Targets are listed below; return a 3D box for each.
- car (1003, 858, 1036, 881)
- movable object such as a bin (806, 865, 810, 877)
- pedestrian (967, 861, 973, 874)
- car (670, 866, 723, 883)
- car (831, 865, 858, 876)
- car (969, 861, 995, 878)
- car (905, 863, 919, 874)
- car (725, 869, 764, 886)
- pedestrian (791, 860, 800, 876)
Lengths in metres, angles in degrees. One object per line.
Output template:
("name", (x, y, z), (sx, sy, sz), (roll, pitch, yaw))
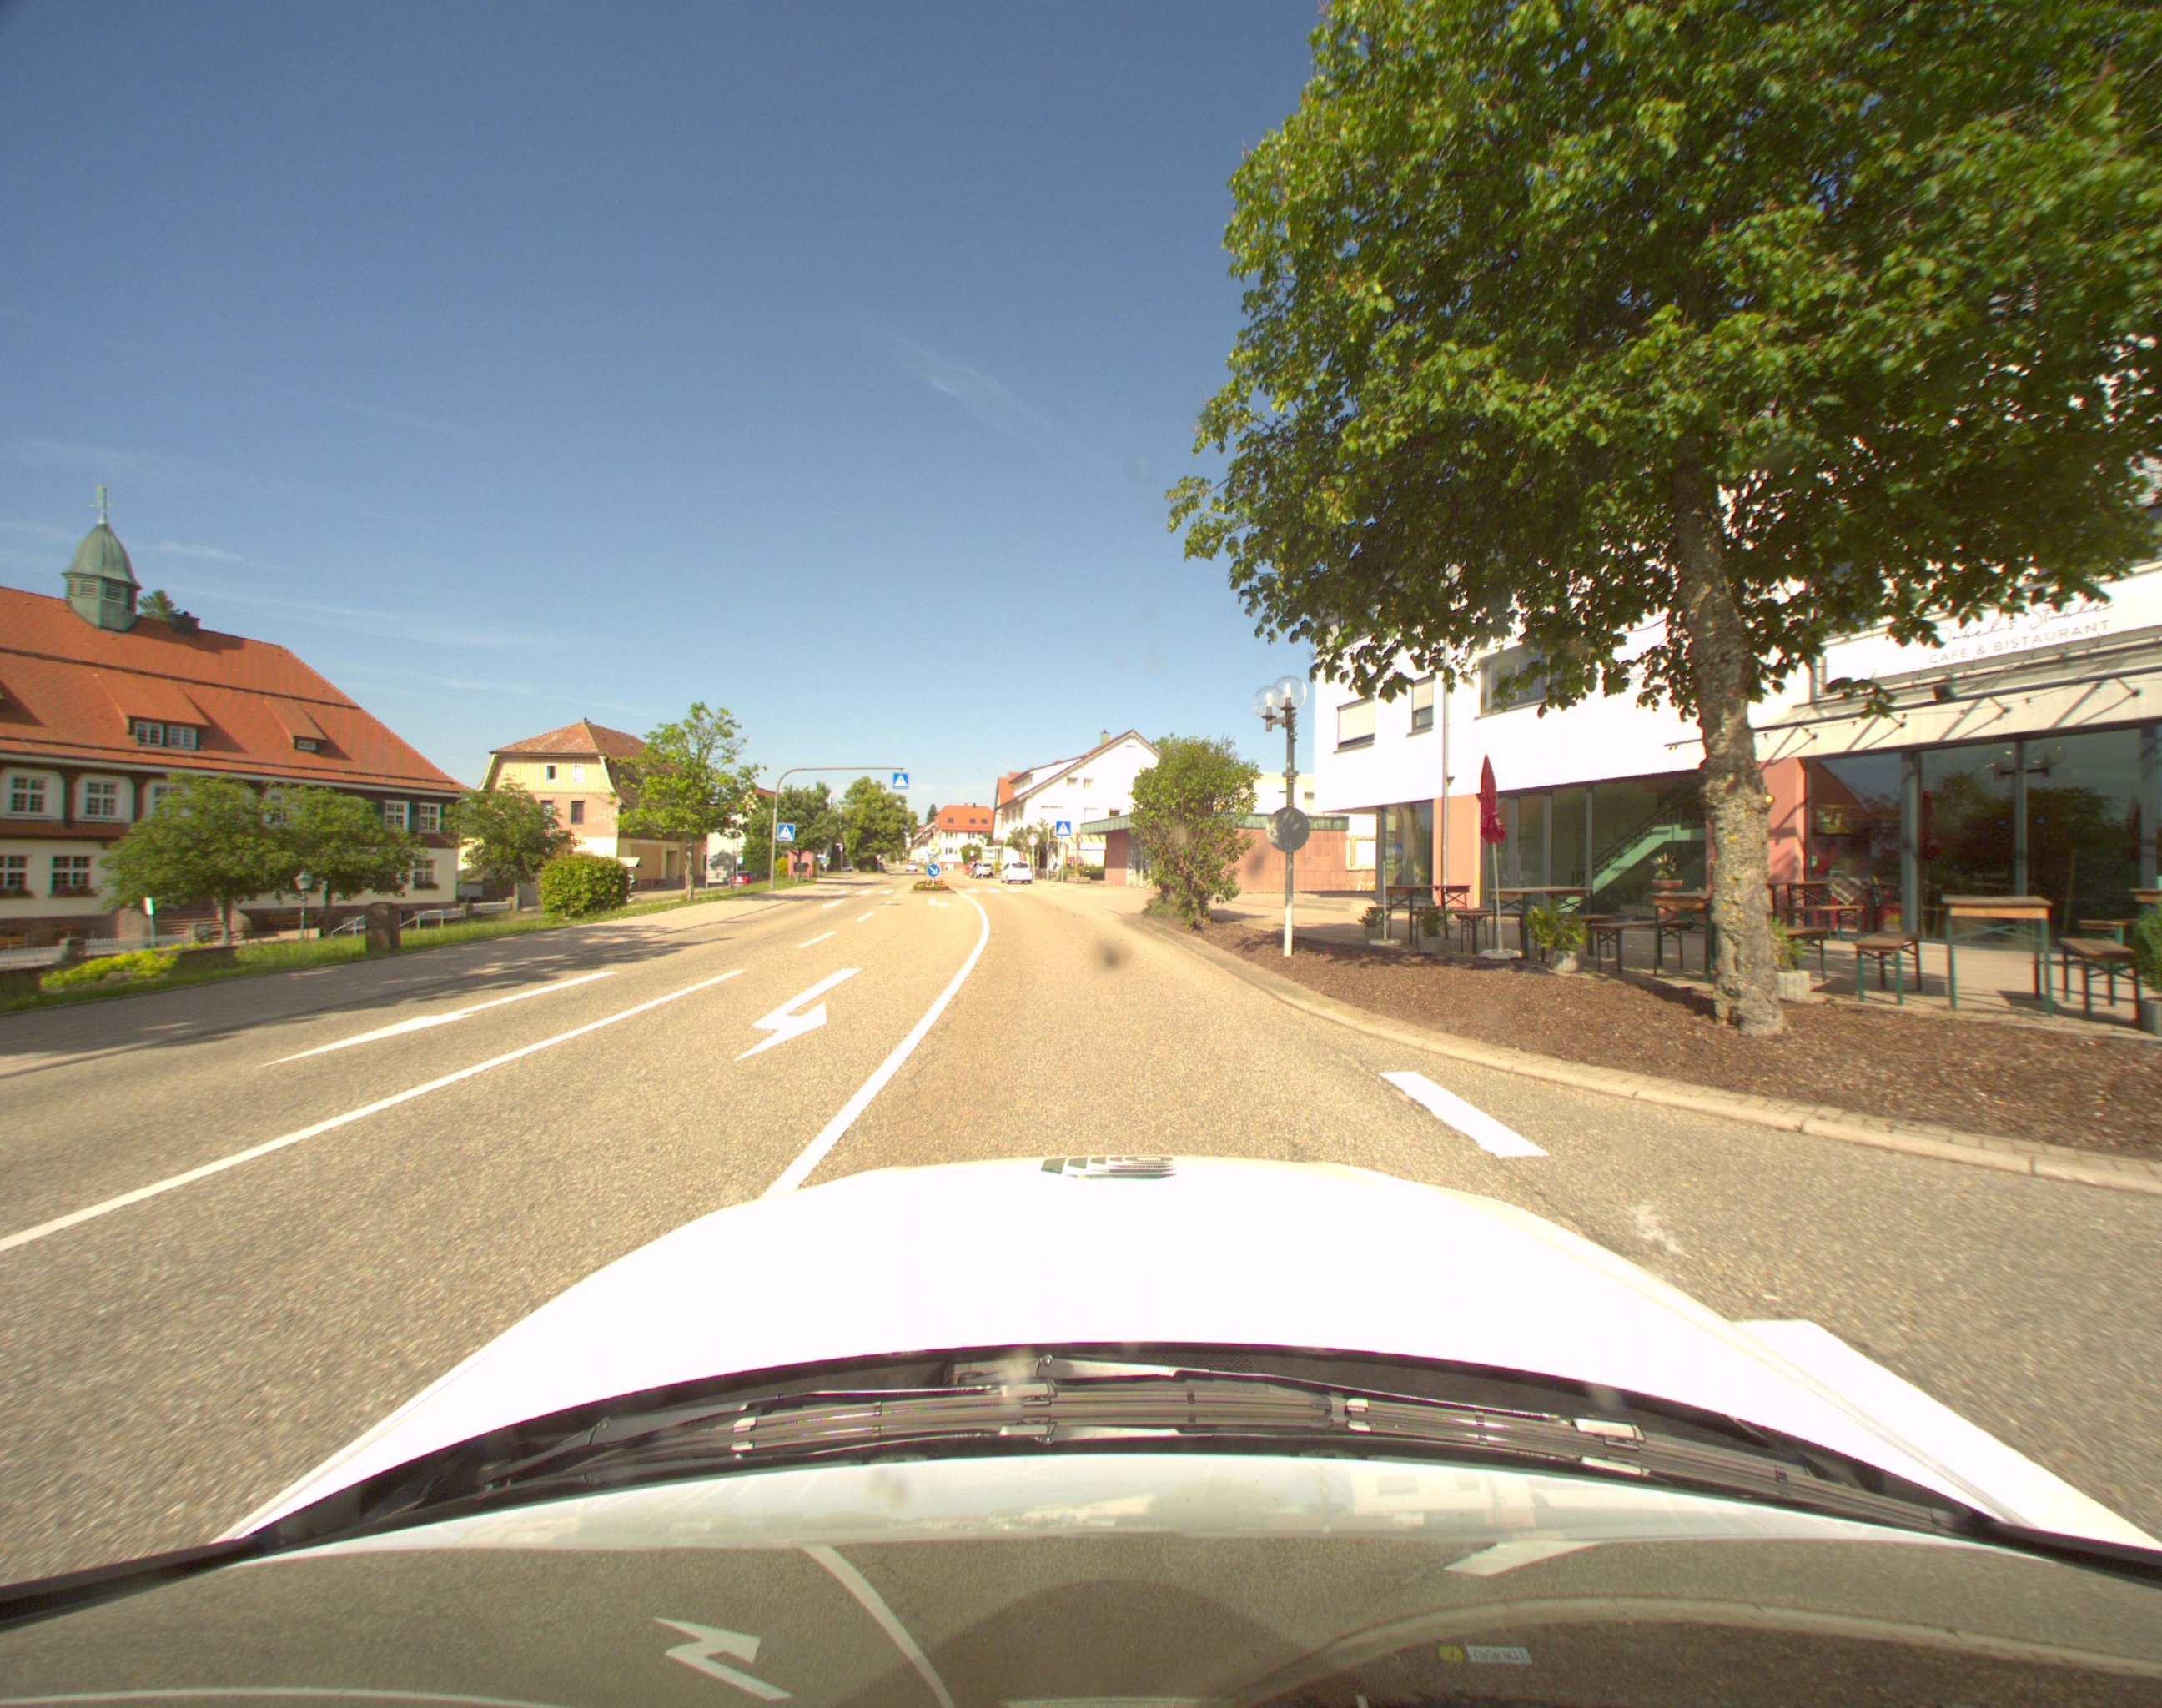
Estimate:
("car", (-4.098, 1.028, 53.931), (1.761, 1.423, 3.620), (-1, 0, -11))
("movable object such as a bin", (-20.557, 1.277, 61.338), (0.305, 0.837, 0.482), (-1, -1, -16))
("pedestrian", (-15.232, 1.907, 112.091), (0.799, 1.784, 0.976), (-1, -1, -9))
("car", (-37.587, 2.012, 79.673), (4.293, 1.512, 1.797), (1, -3, -4))
("car", (-36.773, 2.529, 126.711), (3.749, 1.455, 1.815), (-2, -6, -2))
("car", (-8.751, 1.325, 71.650), (1.639, 1.420, 3.912), (-1, 0, -17))
("car", (-31.959, 2.689, 154.195), (2.497, 2.014, 4.287), (-2, -1, -11))
("car", (-29.659, 2.056, 71.954), (1.714, 1.297, 4.001), (-2, 0, 1))
("pedestrian", (-22.206, 1.101, 63.380), (0.630, 1.253, 0.421), (-2, -1, -17))
